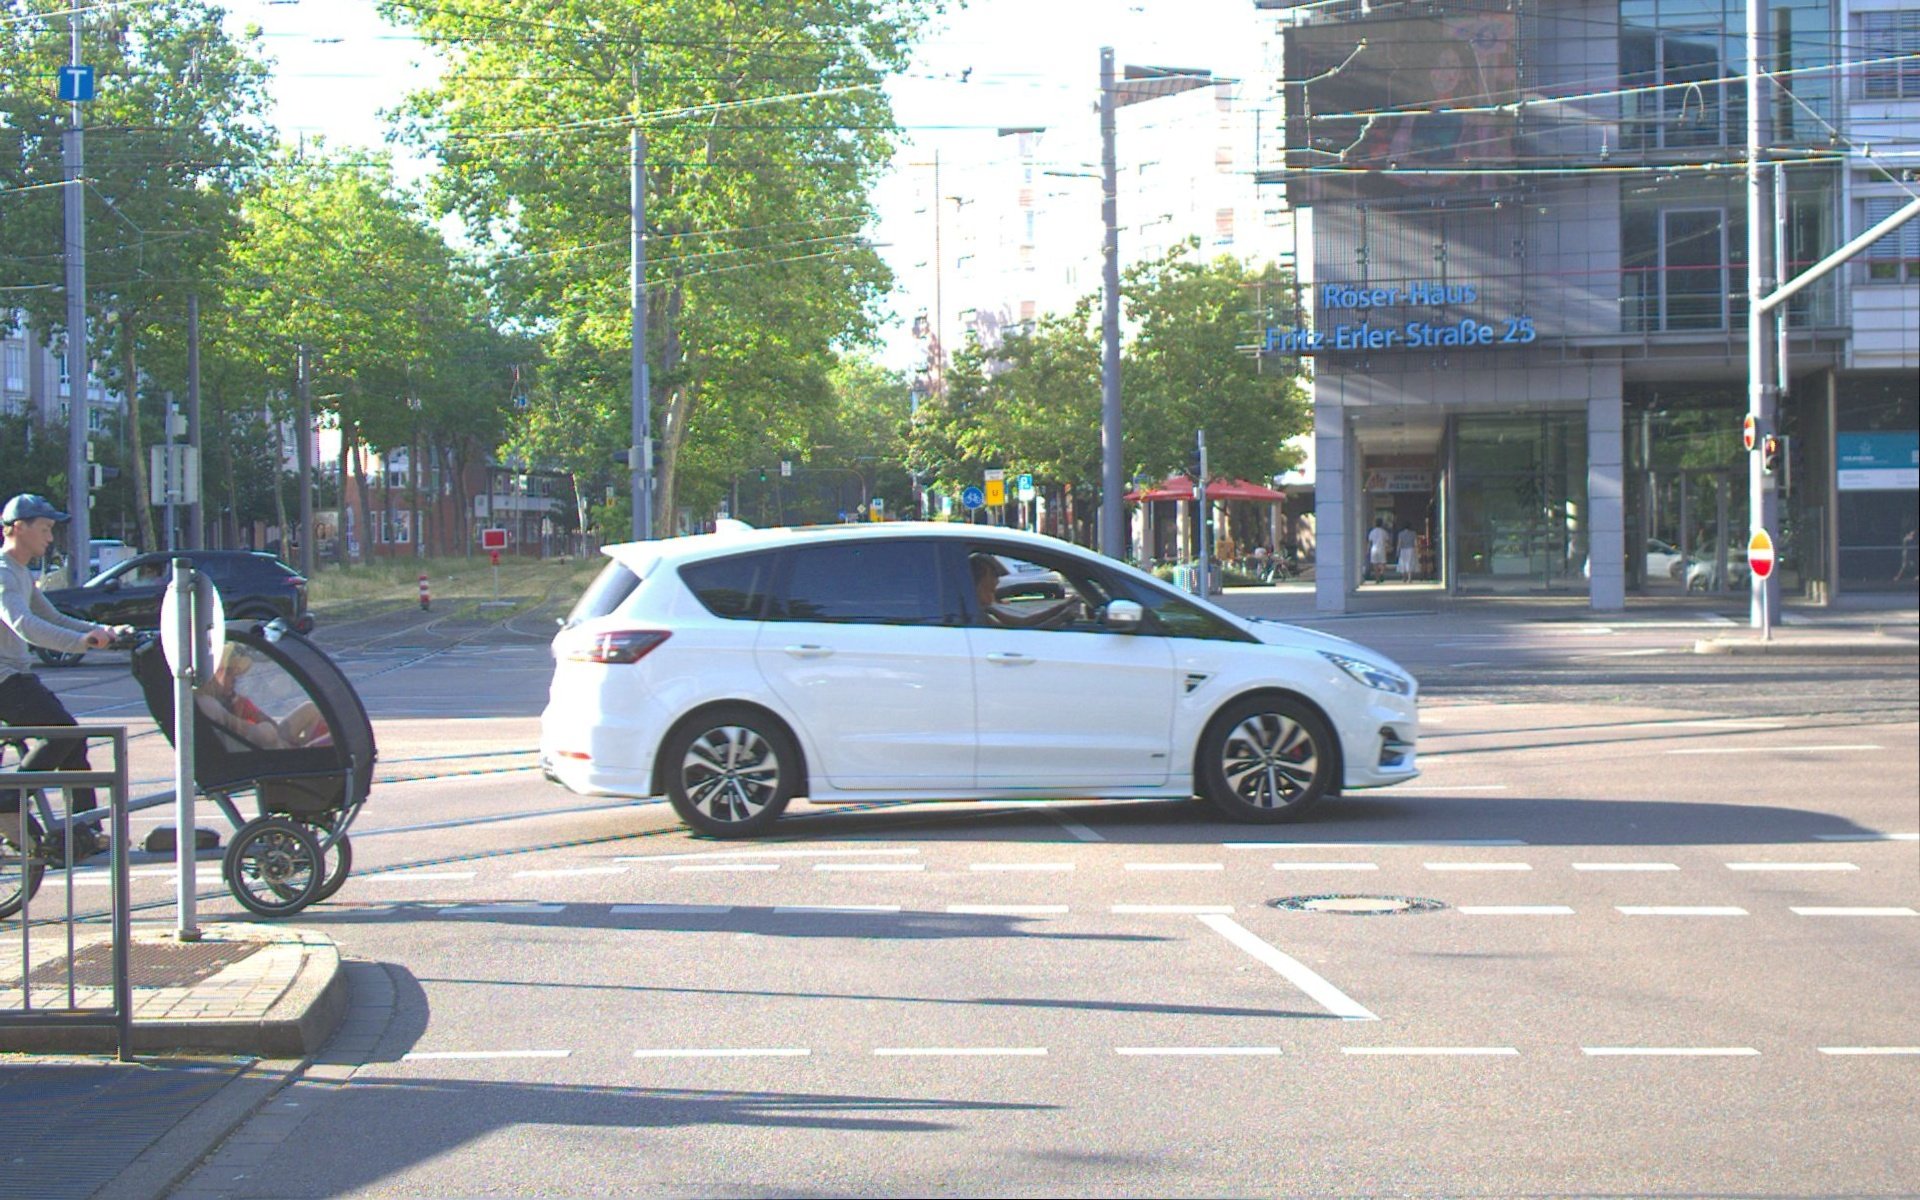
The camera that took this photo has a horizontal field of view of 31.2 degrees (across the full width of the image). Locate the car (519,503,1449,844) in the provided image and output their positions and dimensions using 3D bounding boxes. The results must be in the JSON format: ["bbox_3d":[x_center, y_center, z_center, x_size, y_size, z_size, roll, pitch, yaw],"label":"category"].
[{"bbox_3d":[0.079,0.357,18.862,4.833,1.721,2.000,-1,1,-4],"label":"car"}]

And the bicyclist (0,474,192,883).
[{"bbox_3d":[-3.785,0.318,14.470,0.904,1.675,0.691,-1,1,3],"label":"bicyclist"}]

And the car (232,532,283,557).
[{"bbox_3d":[-44.408,-3.508,217.339,1.994,1.503,3.999,-1,1,7],"label":"car"}]

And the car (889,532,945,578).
[{"bbox_3d":[-1.592,-1.670,126.734,1.993,1.656,4.000,-1,1,-1],"label":"car"}]

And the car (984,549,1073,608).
[{"bbox_3d":[1.630,-0.540,82.871,1.993,1.327,4.000,-1,1,-1],"label":"car"}]

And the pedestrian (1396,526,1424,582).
[{"bbox_3d":[12.026,-1.230,91.879,0.706,1.460,0.384,-1,1,9],"label":"pedestrian"}]

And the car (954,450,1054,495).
[{"bbox_3d":[1.821,-5.238,140.970,3.764,1.744,1.780,1,0,14],"label":"car"}]

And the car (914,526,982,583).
[{"bbox_3d":[-0.383,-1.403,105.017,1.993,1.656,4.000,-1,1,-1],"label":"car"}]

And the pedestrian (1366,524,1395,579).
[{"bbox_3d":[11.280,-1.315,92.237,0.739,1.460,0.536,-1,1,9],"label":"pedestrian"}]

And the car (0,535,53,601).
[{"bbox_3d":[-22.734,-0.763,81.036,1.993,1.503,4.001,-1,1,-6],"label":"car"}]

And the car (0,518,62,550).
[{"bbox_3d":[-47.428,-3.331,173.029,3.987,1.547,1.607,1,1,-31],"label":"car"}]

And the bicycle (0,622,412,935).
[{"bbox_3d":[-3.493,0.727,14.444,2.157,1.222,1.072,0,2,3],"label":"bicycle"}]

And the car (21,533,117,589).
[{"bbox_3d":[-24.624,-1.089,95.136,1.993,1.503,4.001,-1,1,-6],"label":"car"}]

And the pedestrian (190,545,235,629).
[{"bbox_3d":[-13.679,-0.244,62.906,0.754,1.525,0.508,0,1,-7],"label":"pedestrian"}]

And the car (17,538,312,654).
[{"bbox_3d":[-10.975,-0.074,47.666,3.859,1.502,1.796,-1,1,-10],"label":"car"}]

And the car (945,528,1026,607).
[{"bbox_3d":[0.641,-0.877,89.706,1.993,1.985,4.000,-1,1,-1],"label":"car"}]
